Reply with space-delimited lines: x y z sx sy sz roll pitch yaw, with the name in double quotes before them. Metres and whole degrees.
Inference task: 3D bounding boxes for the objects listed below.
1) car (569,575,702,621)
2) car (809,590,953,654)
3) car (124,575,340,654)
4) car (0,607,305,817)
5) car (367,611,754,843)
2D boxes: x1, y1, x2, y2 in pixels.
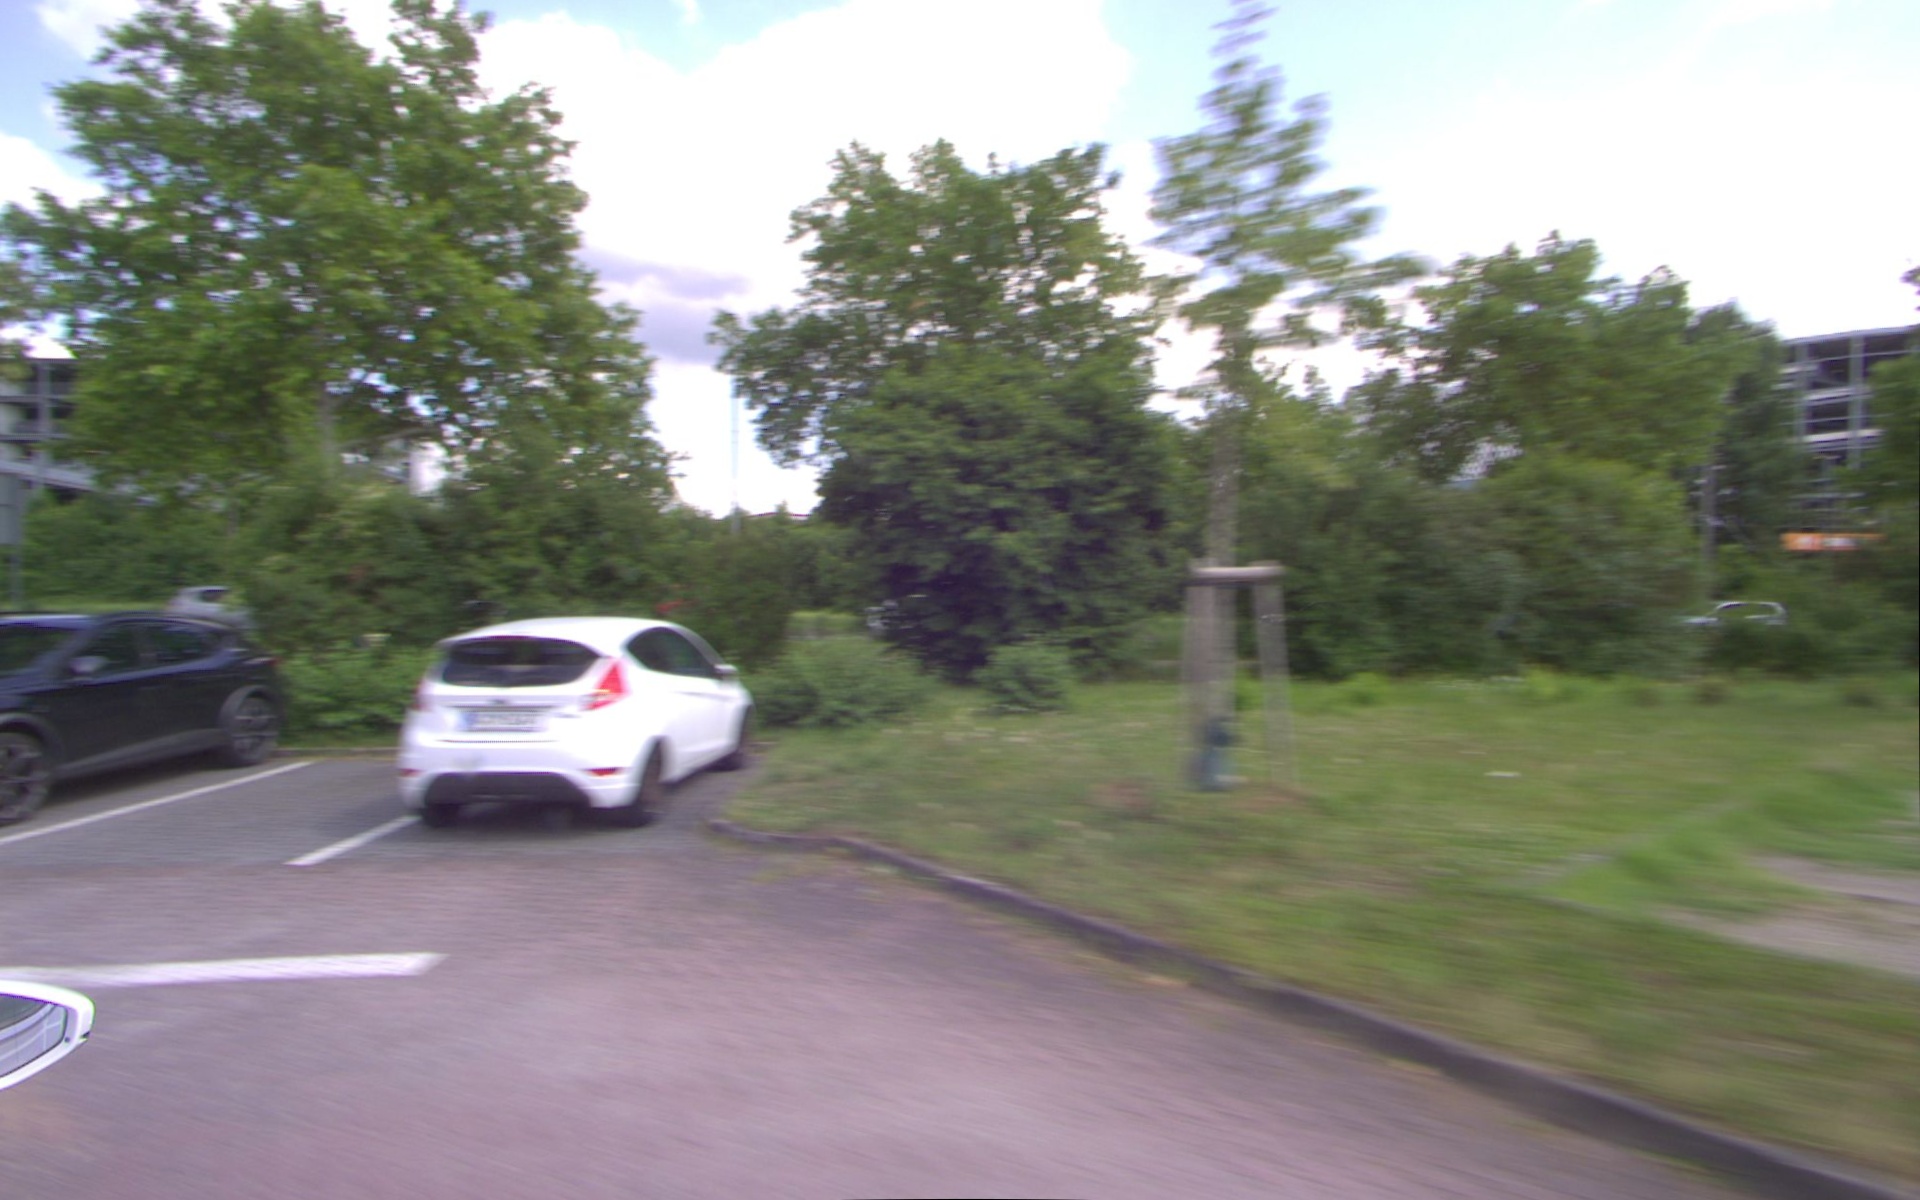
"car" -12.451 -0.068 38.638 4.505 1.692 1.999 0 1 -4
"car" -2.223 0.608 28.291 3.923 1.738 1.999 0 1 -5
"car" -19.865 0.408 27.498 4.409 2.039 1.919 -1 -2 -6
"car" -7.633 0.799 8.346 1.700 1.429 4.242 0 0 -3
"car" -2.932 0.831 8.201 1.637 1.430 3.557 0 0 2
